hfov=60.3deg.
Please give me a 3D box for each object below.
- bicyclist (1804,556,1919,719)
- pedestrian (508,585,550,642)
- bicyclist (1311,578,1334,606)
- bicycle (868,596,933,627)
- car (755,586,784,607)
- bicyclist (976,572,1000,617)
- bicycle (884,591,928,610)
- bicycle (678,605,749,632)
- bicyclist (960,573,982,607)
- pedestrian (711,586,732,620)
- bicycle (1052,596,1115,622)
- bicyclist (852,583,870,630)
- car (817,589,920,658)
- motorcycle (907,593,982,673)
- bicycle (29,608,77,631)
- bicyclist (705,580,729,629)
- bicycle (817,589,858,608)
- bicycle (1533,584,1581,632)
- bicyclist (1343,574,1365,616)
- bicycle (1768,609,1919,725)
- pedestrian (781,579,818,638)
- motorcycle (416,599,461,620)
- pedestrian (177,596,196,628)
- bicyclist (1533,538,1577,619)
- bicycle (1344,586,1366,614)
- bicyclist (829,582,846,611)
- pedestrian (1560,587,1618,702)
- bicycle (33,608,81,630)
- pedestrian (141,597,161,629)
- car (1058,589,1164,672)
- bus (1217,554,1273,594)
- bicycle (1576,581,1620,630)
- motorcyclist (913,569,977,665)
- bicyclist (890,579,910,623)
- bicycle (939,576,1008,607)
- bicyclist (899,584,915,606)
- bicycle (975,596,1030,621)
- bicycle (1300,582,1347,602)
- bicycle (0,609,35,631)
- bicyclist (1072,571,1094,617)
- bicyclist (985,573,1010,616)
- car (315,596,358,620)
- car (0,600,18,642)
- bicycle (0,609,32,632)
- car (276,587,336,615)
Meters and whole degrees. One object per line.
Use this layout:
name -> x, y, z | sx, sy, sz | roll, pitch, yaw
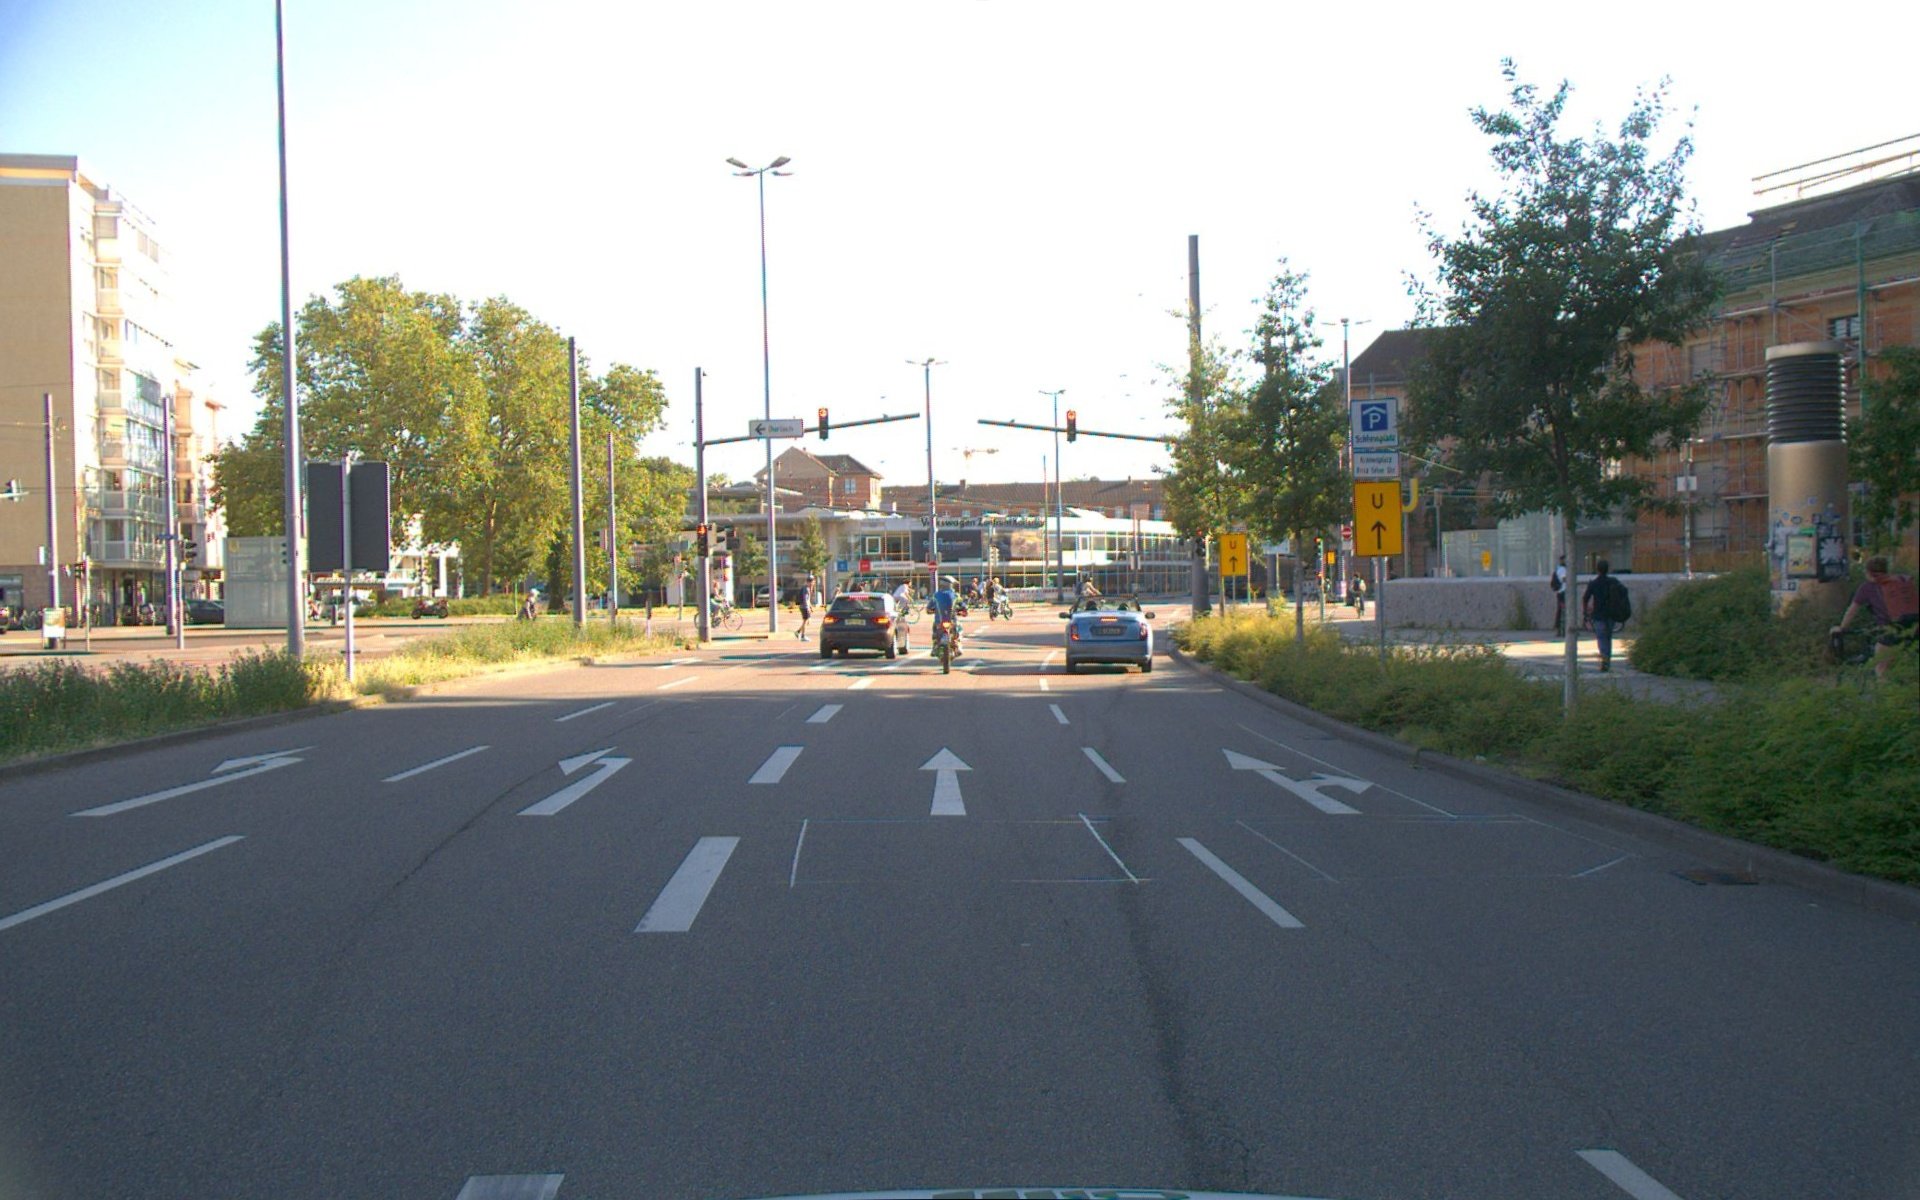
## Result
bicyclist -> 8.249, 0.331, 14.867 | 0.706, 1.409, 1.074 | 0, -1, -6
pedestrian -> -12.484, 0.385, 47.935 | 1.071, 1.634, 0.698 | 0, 2, -6
bicyclist -> 20.426, -0.444, 93.240 | 0.907, 1.587, 0.961 | -1, 0, -10
bicycle -> -2.355, 0.449, 65.069 | 2.450, 1.153, 0.857 | -1, 2, -13
car -> -16.017, -0.299, 139.295 | 1.953, 1.561, 4.000 | 0, 2, -1
bicyclist -> 1.156, -0.231, 68.084 | 0.579, 1.809, 0.855 | -1, 0, -38
bicycle -> -2.987, 0.028, 91.731 | 2.261, 0.976, 0.856 | -2, 3, -19
bicycle -> -8.853, 0.665, 59.388 | 2.453, 0.889, 0.856 | -1, 2, -17
bicyclist -> 0.646, -0.615, 96.767 | 1.052, 1.933, 1.119 | -1, 2, -13
pedestrian -> -13.066, 0.146, 90.673 | 0.968, 1.847, 0.920 | 0, 2, 3
bicycle -> 4.716, 0.353, 63.010 | 2.254, 0.921, 0.858 | -1, 2, -11
bicyclist -> -3.705, 0.226, 61.846 | 0.637, 1.720, 0.859 | -1, 2, -6
car -> -2.023, 0.498, 37.650 | 1.763, 1.469, 3.981 | 0, 0, 5
motorcycle -> -0.256, 0.576, 30.505 | 1.073, 1.401, 2.655 | 0, 0, 6
bicycle -> -46.810, 1.015, 85.415 | 2.008, 1.109, 0.774 | -1, 0, -15
bicyclist -> -8.742, 0.161, 59.418 | 0.733, 1.720, 0.856 | -1, 2, -16
bicycle -> -6.976, -0.078, 94.319 | 2.254, 0.996, 0.858 | -1, 2, -11
bicycle -> 13.806, 0.181, 38.295 | 0.772, 1.057, 1.964 | -3, -1, 13
bicyclist -> 15.862, -0.202, 66.566 | 0.772, 1.621, 0.948 | -3, -1, 13
bicycle -> 8.250, 0.572, 14.854 | 0.706, 0.969, 2.246 | 0, -1, -6
pedestrian -> -4.655, 0.241, 47.929 | 0.819, 1.701, 0.690 | -1, 0, -34
motorcycle -> -28.345, 0.529, 89.925 | 2.242, 1.072, 0.686 | -1, 2, -8
pedestrian -> -41.897, 0.667, 89.580 | 0.762, 1.705, 0.780 | -1, 0, -12
bicyclist -> 13.759, -0.499, 38.256 | 0.770, 1.817, 0.894 | -3, -1, 13
bicycle -> 15.910, 0.011, 66.612 | 0.772, 1.057, 1.964 | -3, -1, 13
bicyclist -> -6.991, -0.190, 94.297 | 0.907, 1.586, 0.858 | -1, 2, -11
pedestrian -> 9.536, 0.656, 25.079 | 0.789, 1.687, 0.790 | 1, 0, 22
bicycle -> -47.058, 0.984, 86.224 | 2.008, 1.109, 0.774 | -1, 0, -15
pedestrian -> -43.613, 0.702, 89.200 | 0.762, 1.705, 0.780 | -1, 0, -12
car -> 2.971, 0.540, 31.894 | 1.762, 1.469, 3.982 | 0, 0, 9
bus -> 22.830, -2.137, 132.121 | 2.306, 2.933, 9.577 | 1, 2, 23
bicycle -> 14.783, 0.120, 38.317 | 0.614, 1.057, 1.959 | -3, -1, 30
motorcyclist -> -0.261, 0.312, 30.502 | 1.073, 1.751, 0.937 | 0, 0, 6
bicyclist -> -2.345, 0.037, 65.049 | 0.638, 1.720, 0.857 | -1, 2, -13
bicycle -> 0.794, -0.506, 96.849 | 3.919, 1.719, 1.135 | -1, 2, -14
bicyclist -> -2.932, -0.269, 91.744 | 0.702, 1.162, 0.833 | -1, 2, -20
bicycle -> 1.769, 0.333, 68.612 | 2.281, 0.921, 0.848 | -2, 3, -39
bicycle -> 20.510, -0.450, 93.265 | 2.394, 1.021, 0.960 | -1, 0, -11
bicycle -> -49.171, 1.026, 85.684 | 2.008, 1.109, 0.774 | -1, 0, -15
bicyclist -> 4.677, -0.218, 62.983 | 0.637, 1.720, 0.858 | -1, 2, -10
bicyclist -> 1.550, -0.225, 68.438 | 0.645, 1.720, 0.848 | -2, 2, -38
car -> -38.845, 0.480, 103.171 | 1.814, 1.477, 3.990 | -1, 0, -11
car -> -45.894, 0.979, 77.482 | 3.928, 1.889, 1.843 | 2, 3, 41
bicycle -> -48.884, 1.048, 84.861 | 2.008, 1.109, 0.774 | -1, 0, -15
car -> -48.977, 0.068, 123.808 | 3.945, 1.889, 1.834 | -2, 2, -30
